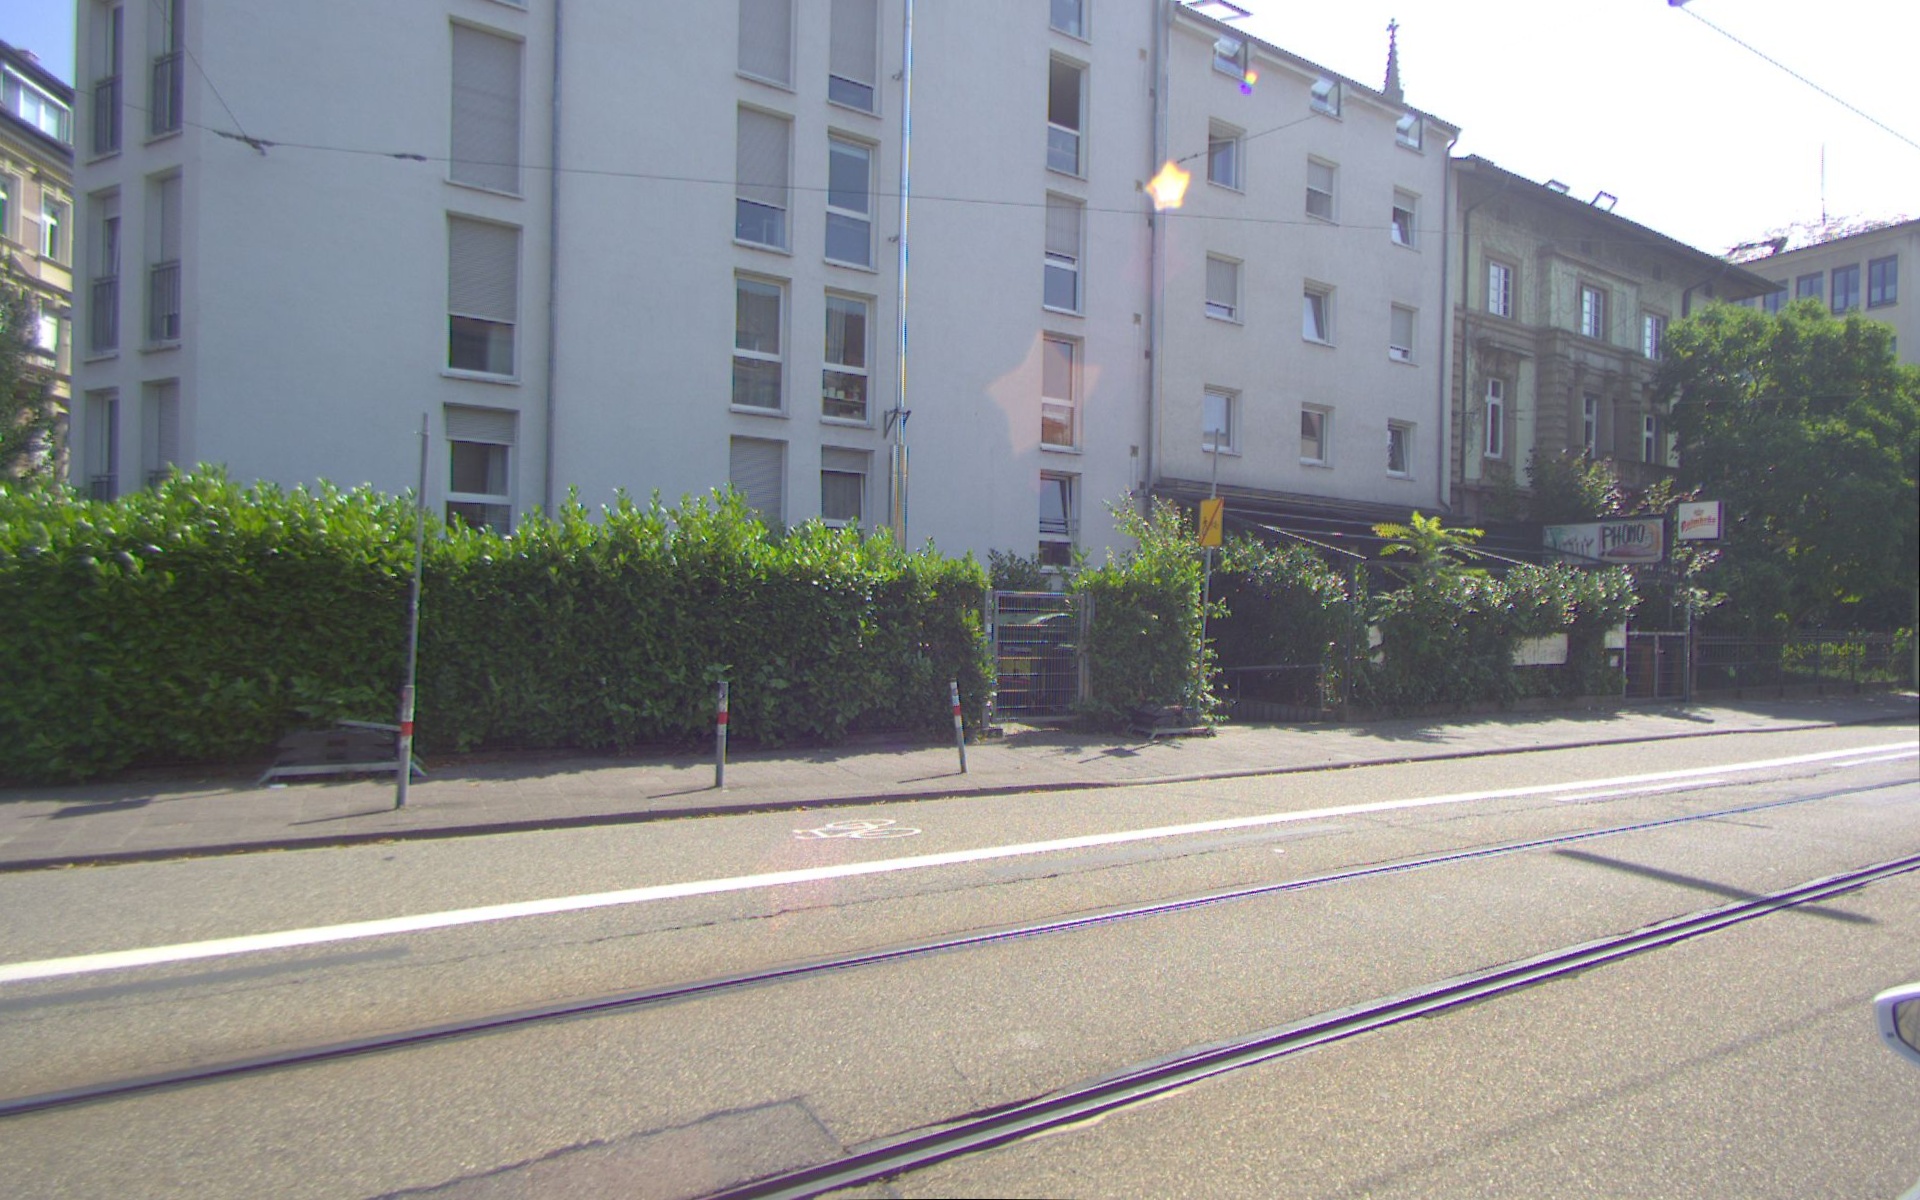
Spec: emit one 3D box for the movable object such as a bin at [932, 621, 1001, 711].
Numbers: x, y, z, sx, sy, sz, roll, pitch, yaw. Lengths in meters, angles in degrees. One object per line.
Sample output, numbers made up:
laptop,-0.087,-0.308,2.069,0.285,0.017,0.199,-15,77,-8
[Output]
movable object such as a bin,0.108,1.019,15.854,1.024,1.377,0.385,1,-1,-32
